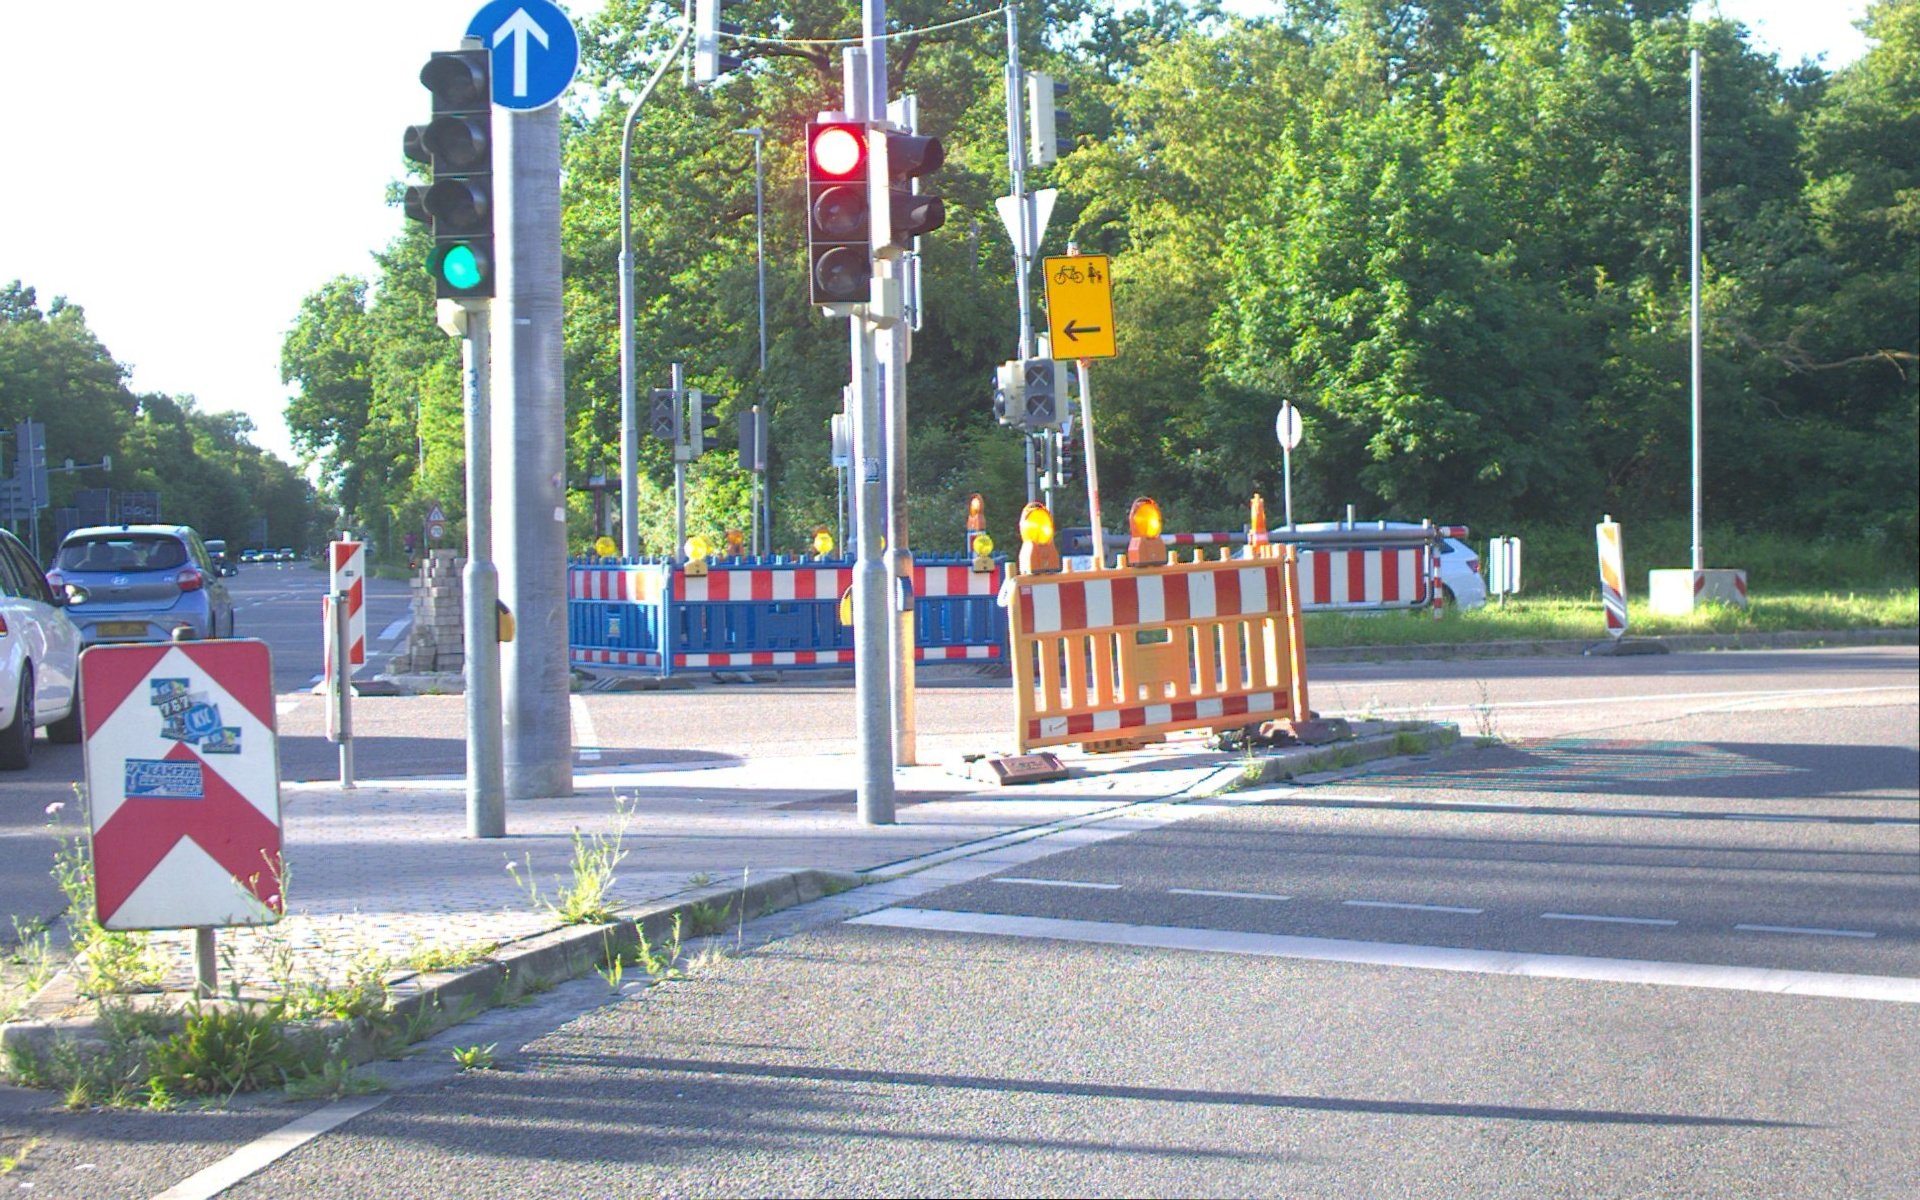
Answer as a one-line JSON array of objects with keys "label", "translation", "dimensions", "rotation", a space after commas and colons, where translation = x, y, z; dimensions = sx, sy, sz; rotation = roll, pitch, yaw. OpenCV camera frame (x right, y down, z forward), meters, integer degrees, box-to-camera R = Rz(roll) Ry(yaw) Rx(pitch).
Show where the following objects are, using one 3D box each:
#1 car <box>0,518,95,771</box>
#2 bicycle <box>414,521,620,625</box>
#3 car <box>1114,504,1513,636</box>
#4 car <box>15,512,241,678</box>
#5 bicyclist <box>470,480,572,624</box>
[{"label": "car", "translation": [-6.434, 0.232, 21.077], "dimensions": [1.939, 1.409, 4.001], "rotation": [-1, 1, -11]}, {"label": "bicycle", "translation": [-5.979, -0.378, 46.504], "dimensions": [2.632, 1.378, 0.968], "rotation": [-1, 2, -39]}, {"label": "car", "translation": [4.584, -0.416, 44.468], "dimensions": [4.817, 1.575, 2.000], "rotation": [-2, 1, -28]}, {"label": "car", "translation": [-8.309, -0.090, 34.634], "dimensions": [1.993, 1.531, 4.001], "rotation": [-1, 1, -11]}, {"label": "bicyclist", "translation": [-5.939, -0.655, 46.539], "dimensions": [1.013, 1.923, 0.968], "rotation": [-1, 1, -39]}]
